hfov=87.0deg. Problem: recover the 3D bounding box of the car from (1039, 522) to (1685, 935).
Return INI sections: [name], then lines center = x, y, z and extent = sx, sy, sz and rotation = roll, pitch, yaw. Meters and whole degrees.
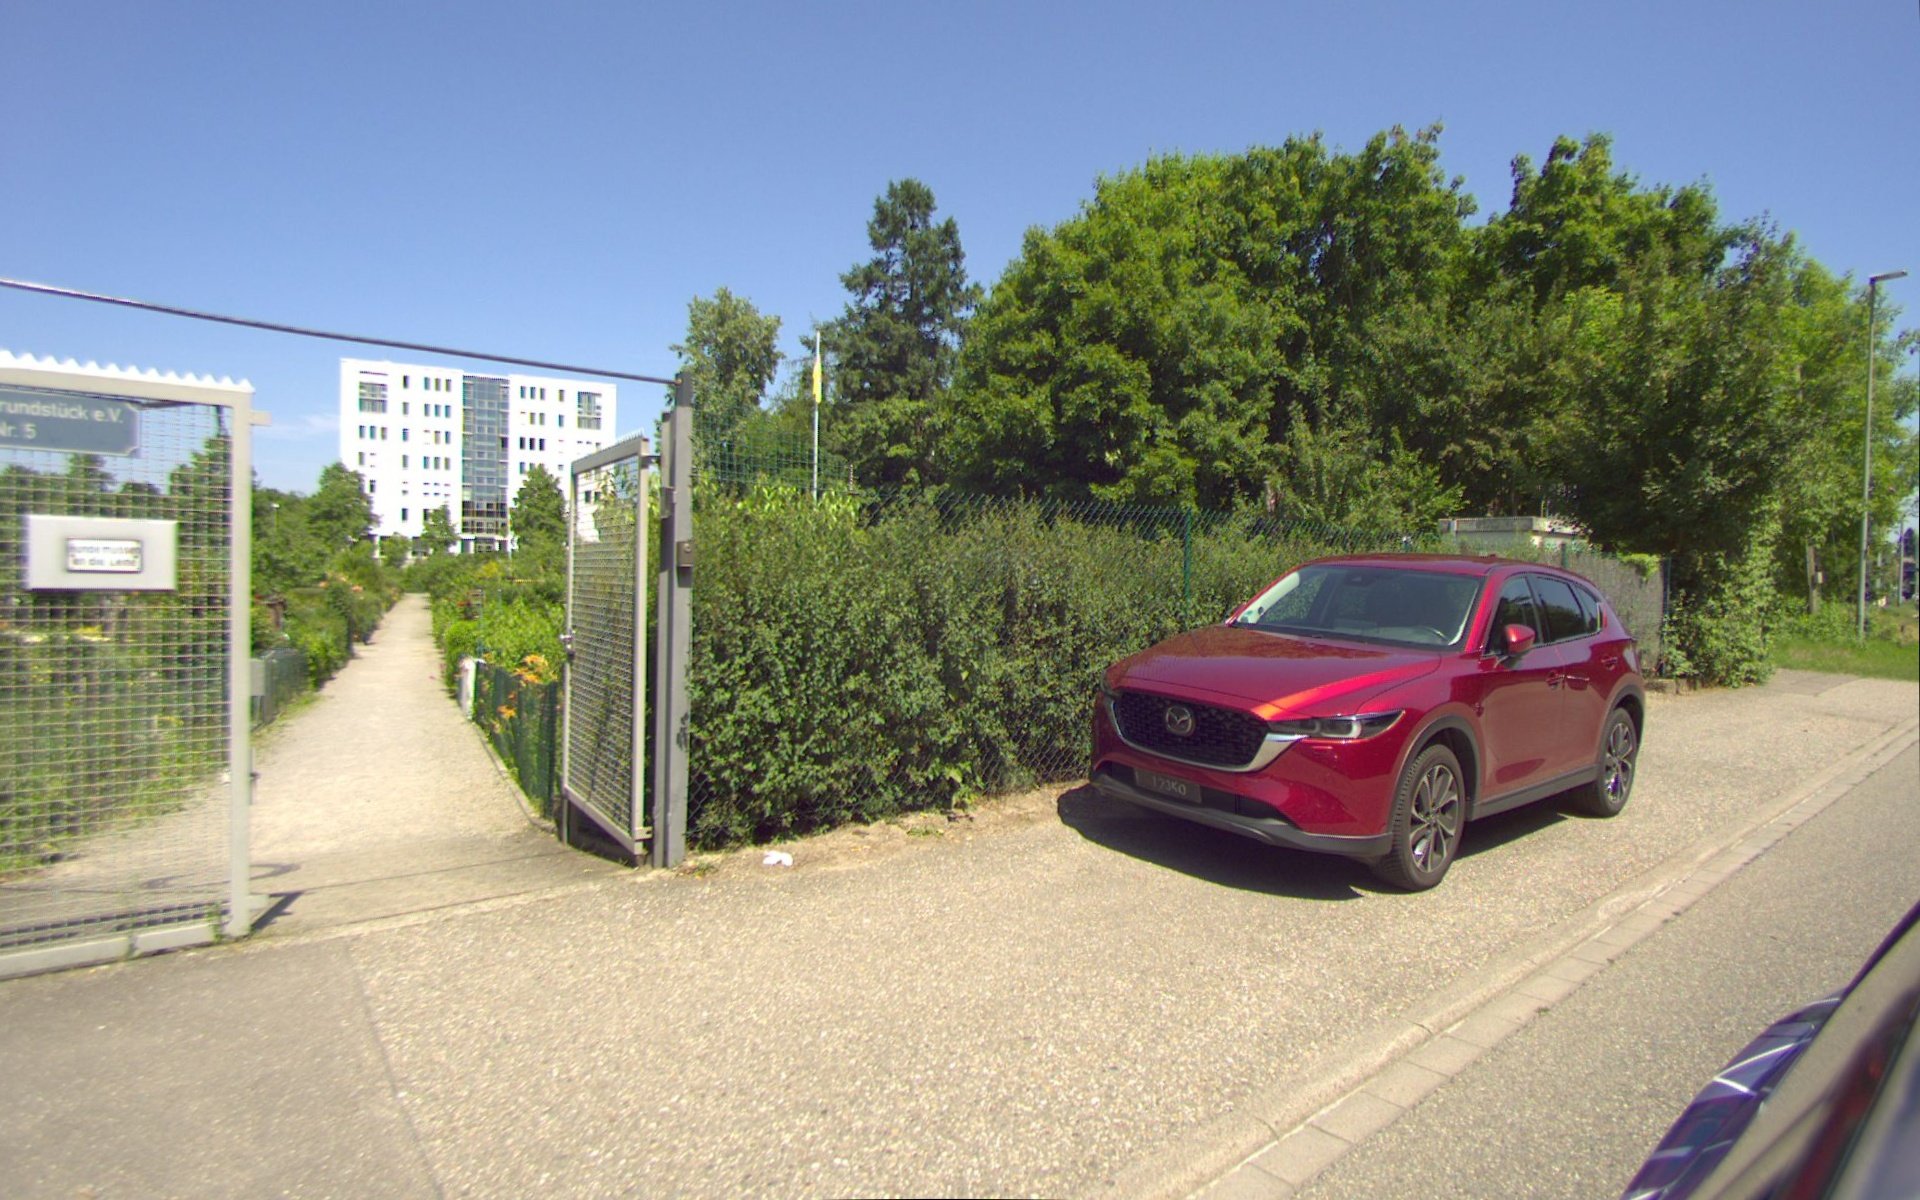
[car]
center = 2.718, 0.489, 6.304
extent = 4.373, 1.678, 1.794
rotation = 0, 5, -40
